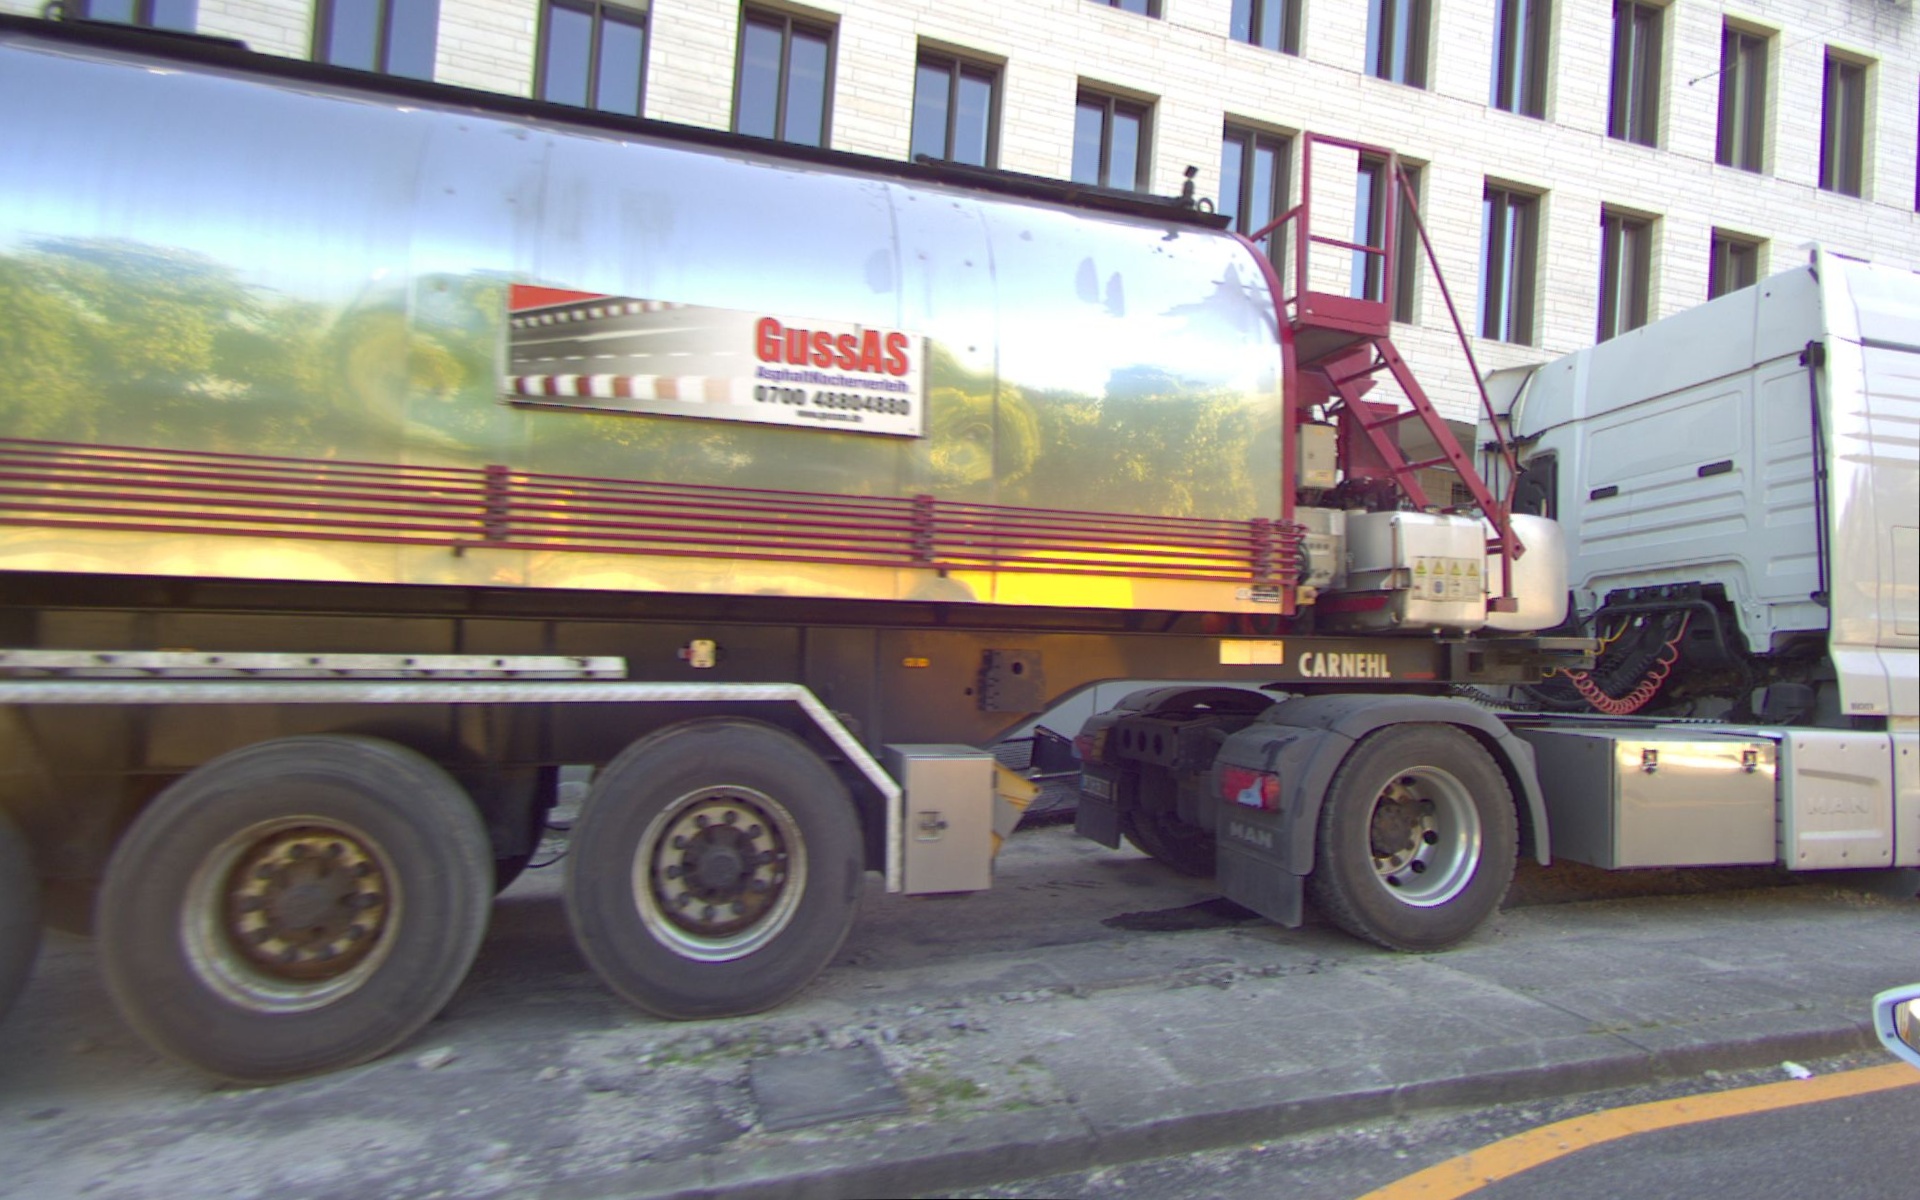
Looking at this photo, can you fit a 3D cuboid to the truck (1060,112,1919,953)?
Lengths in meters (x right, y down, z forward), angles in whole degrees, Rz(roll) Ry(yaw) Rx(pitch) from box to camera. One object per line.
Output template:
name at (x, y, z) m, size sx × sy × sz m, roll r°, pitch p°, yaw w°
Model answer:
truck at (3.742, -0.150, 6.179) m, size 5.719 × 3.534 × 2.581 m, roll 2°, pitch -5°, yaw -15°

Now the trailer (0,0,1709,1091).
trailer at (-1.025, -0.345, 4.739) m, size 8.608 × 3.715 × 2.642 m, roll 2°, pitch -5°, yaw -17°
